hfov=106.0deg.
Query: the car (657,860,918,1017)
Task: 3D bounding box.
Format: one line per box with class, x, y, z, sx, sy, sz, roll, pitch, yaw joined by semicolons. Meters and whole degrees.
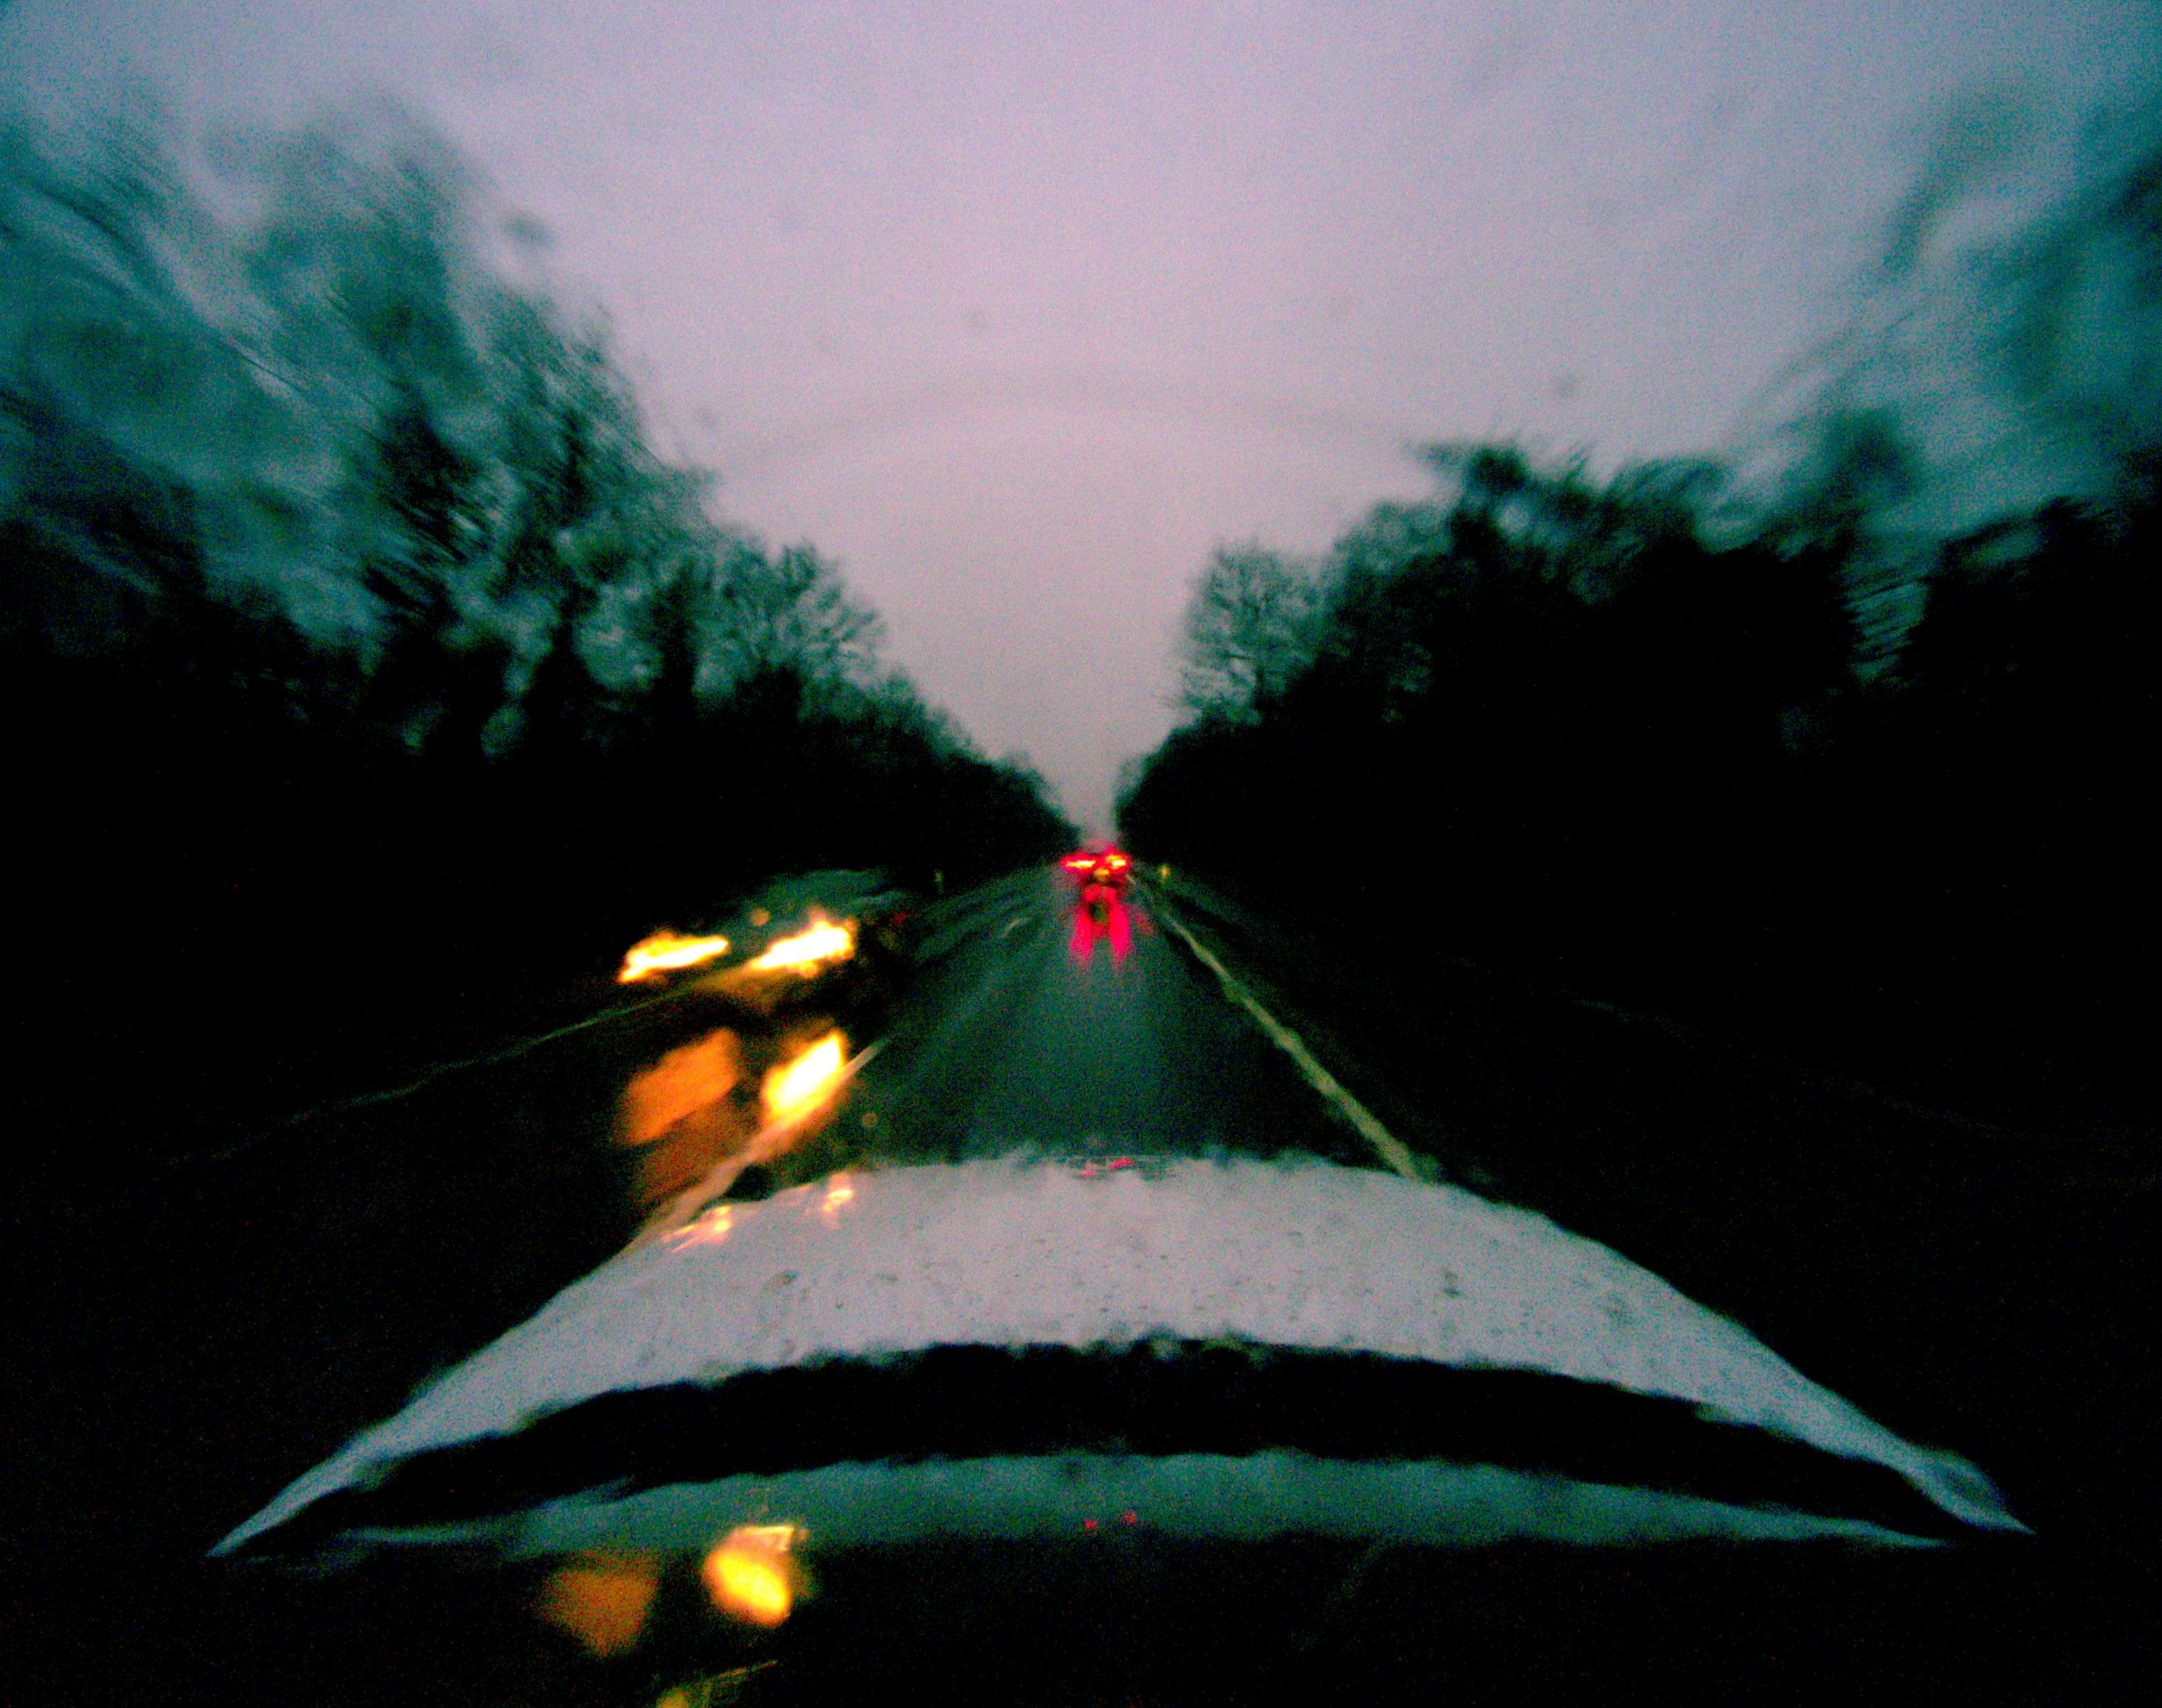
car;-3.250;0.833;9.917;1.613;1.389;4.072;-2;0;0
